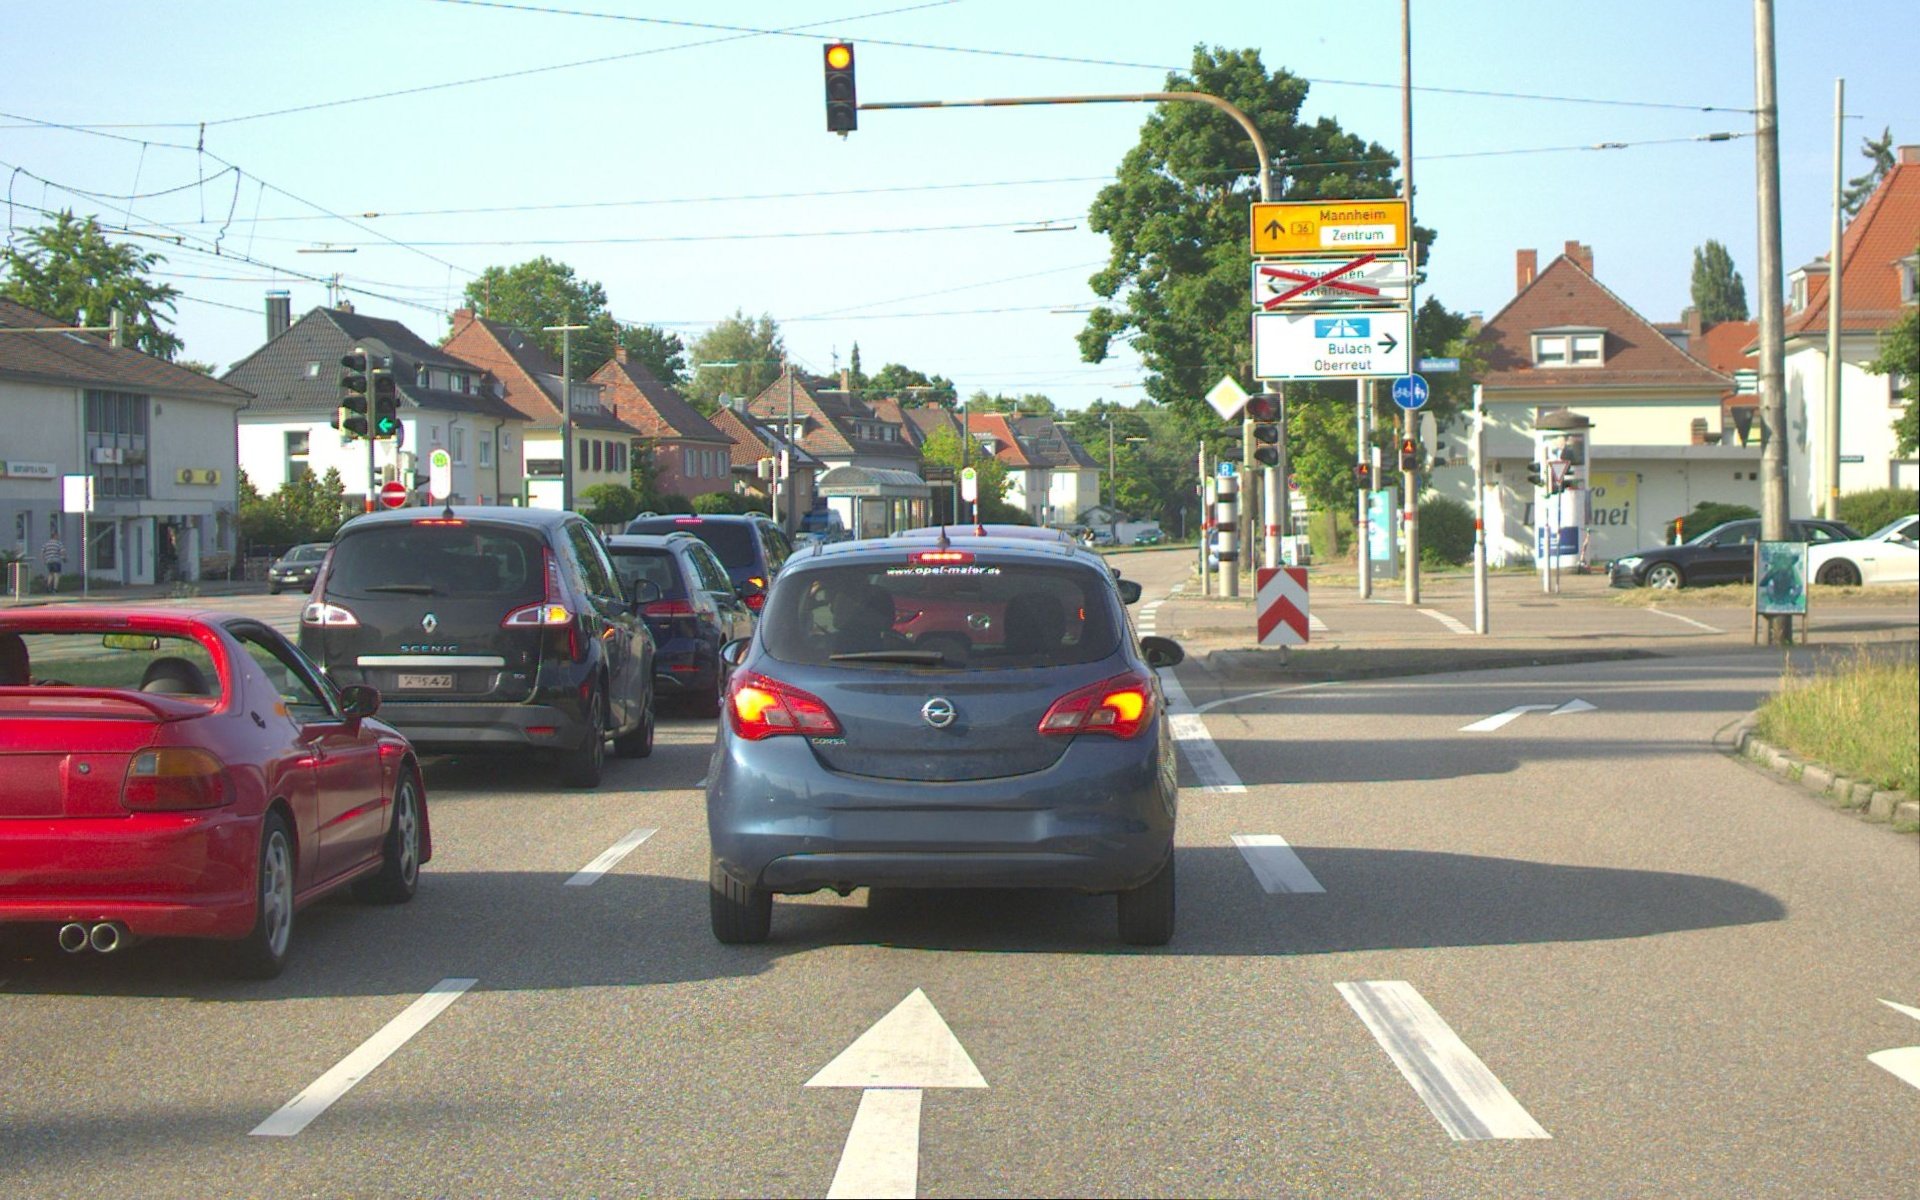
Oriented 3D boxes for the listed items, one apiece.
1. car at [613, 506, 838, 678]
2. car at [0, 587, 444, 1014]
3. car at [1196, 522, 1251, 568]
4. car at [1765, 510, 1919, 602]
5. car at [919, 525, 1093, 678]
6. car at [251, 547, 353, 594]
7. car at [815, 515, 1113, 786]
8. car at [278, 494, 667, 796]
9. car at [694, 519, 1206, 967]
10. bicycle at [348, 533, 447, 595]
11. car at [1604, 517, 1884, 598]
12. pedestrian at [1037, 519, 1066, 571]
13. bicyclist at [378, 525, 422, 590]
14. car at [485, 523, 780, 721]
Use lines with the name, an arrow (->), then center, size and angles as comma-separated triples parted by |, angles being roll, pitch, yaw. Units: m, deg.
car -> -2.356, -0.135, 35.657 | 1.507, 1.645, 4.743 | -1, 1, 6
car -> -3.074, 0.609, 12.508 | 1.731, 1.202, 3.847 | 1, 1, 1
car -> 8.299, -1.717, 108.544 | 1.675, 1.393, 3.999 | 1, 1, 4
car -> 16.728, -0.790, 59.719 | 5.095, 1.557, 1.840 | -1, 1, 5
car -> 0.486, -0.030, 35.018 | 1.656, 1.438, 4.014 | -1, 1, 1
car -> -19.391, -0.872, 101.528 | 1.664, 1.341, 4.075 | -1, 0, 9
car -> 0.051, 0.246, 21.913 | 1.706, 1.546, 3.978 | -1, 1, 1
car -> -2.865, 0.200, 21.015 | 1.763, 1.665, 4.084 | 0, 1, 0
car -> -0.049, 0.442, 13.895 | 1.741, 1.500, 4.223 | -1, 2, 0
bicycle -> -12.526, -0.801, 76.615 | 2.073, 1.343, 1.109 | 1, 0, -5
car -> 14.448, -0.789, 63.526 | 4.824, 1.406, 1.715 | -1, 1, 5
pedestrian -> 2.610, -1.575, 98.457 | 0.753, 1.494, 0.827 | 1, 0, 6
bicyclist -> -12.477, -0.954, 76.610 | 0.884, 1.426, 1.137 | 1, 0, -5
car -> -2.622, 0.115, 28.528 | 1.700, 1.503, 4.553 | 0, 1, 4
